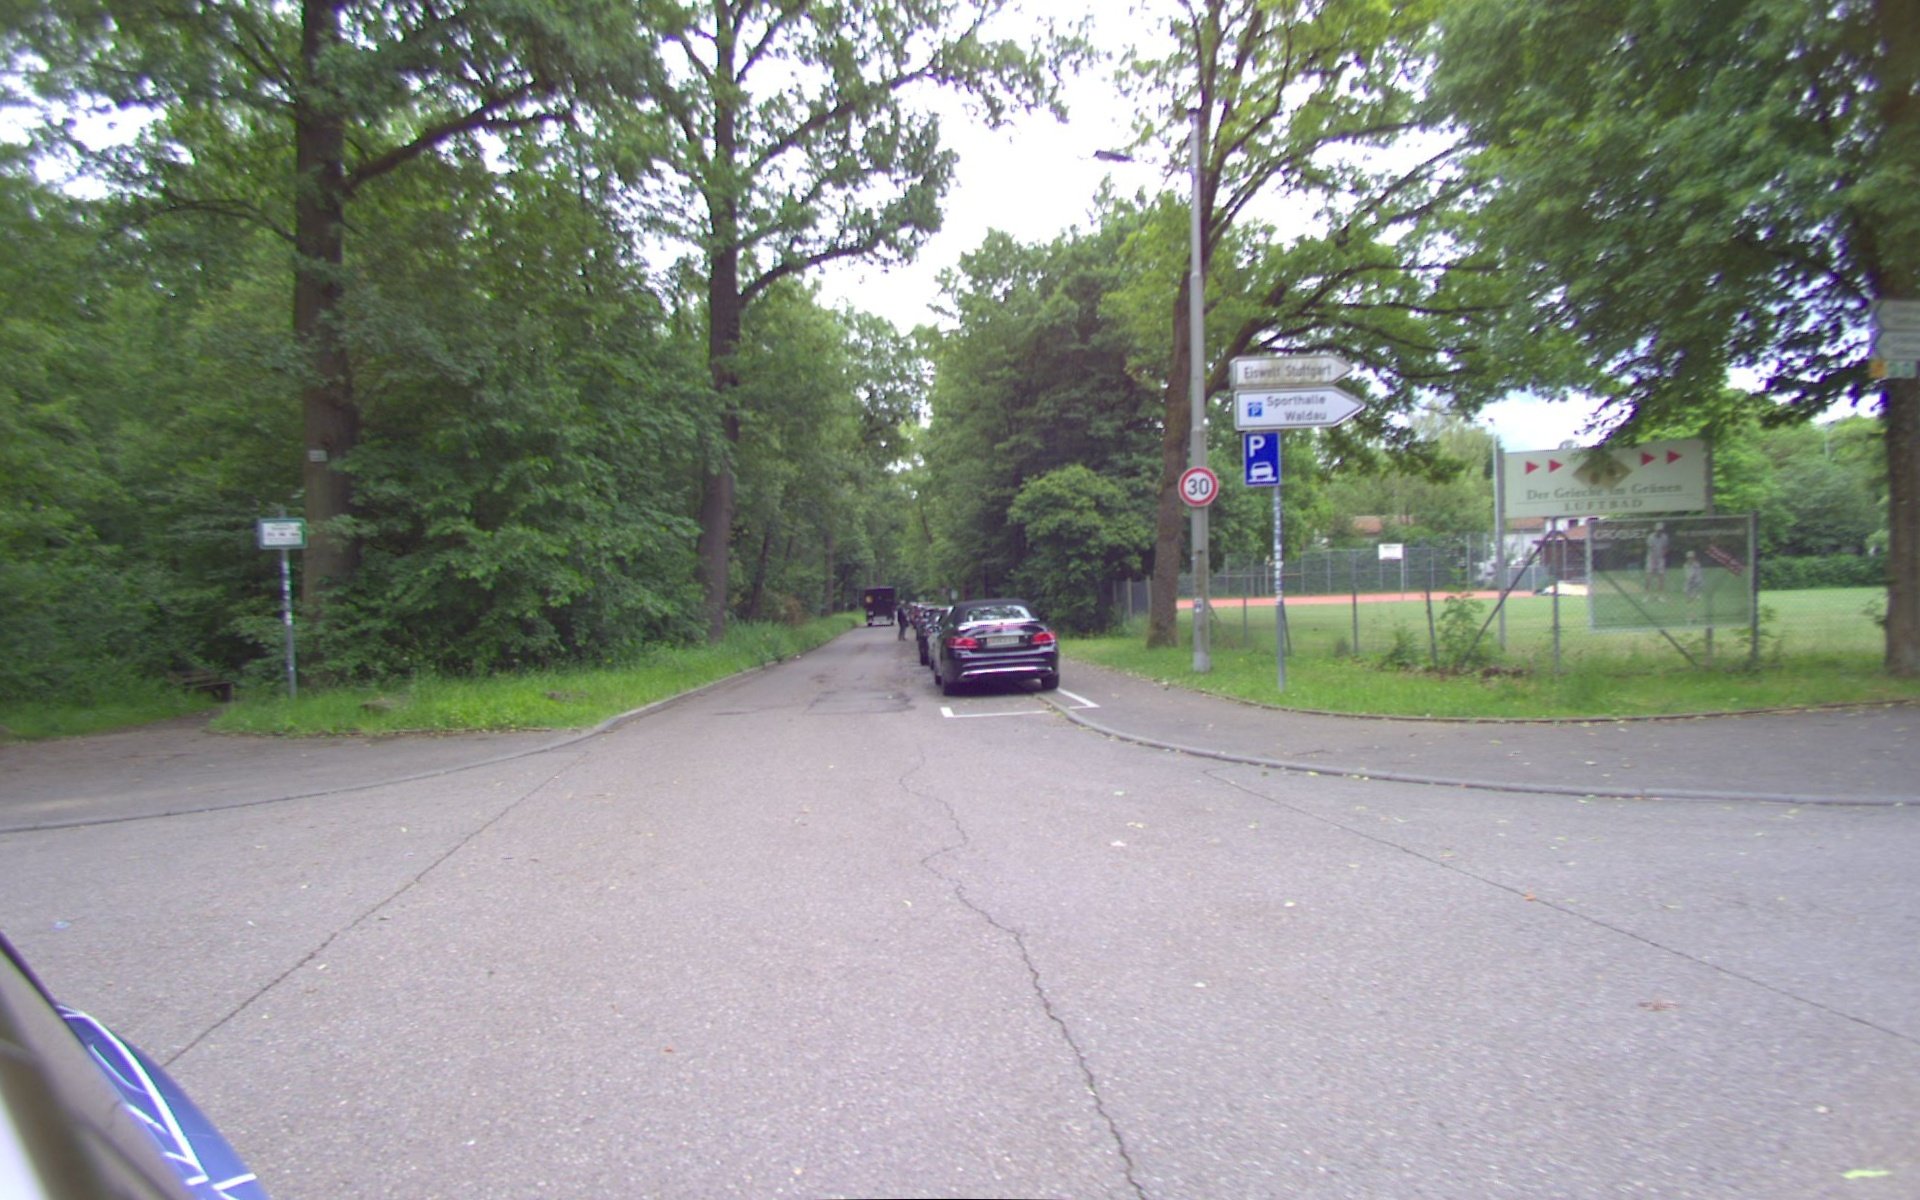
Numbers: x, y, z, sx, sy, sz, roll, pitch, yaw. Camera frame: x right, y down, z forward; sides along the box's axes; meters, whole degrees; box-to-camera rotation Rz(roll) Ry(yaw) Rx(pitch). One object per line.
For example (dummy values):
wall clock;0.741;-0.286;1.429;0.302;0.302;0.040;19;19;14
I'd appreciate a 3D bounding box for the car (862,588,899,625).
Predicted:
car;-5.963;0.475;75.381;2.542;2.553;4.942;-3;1;-5

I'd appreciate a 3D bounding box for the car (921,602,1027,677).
car;0.199;0.822;21.748;1.665;1.369;4.226;-3;-1;-7

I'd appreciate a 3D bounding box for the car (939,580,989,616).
car;0.145;-0.098;48.194;1.928;1.631;3.645;-1;0;-6

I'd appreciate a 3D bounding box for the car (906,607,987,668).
car;-0.424;0.957;26.385;1.665;1.369;3.873;-3;-1;-7

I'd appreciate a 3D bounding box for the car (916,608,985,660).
car;-0.342;1.023;30.892;1.665;1.369;3.636;-3;-1;-7

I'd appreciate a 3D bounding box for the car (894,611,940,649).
car;-1.776;1.221;41.131;1.547;1.369;3.524;-3;-1;-7

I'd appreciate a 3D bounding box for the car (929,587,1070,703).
car;0.482;0.669;16.222;1.746;1.506;4.329;-3;-1;-3

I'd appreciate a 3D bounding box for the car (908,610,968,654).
car;-0.825;1.101;35.262;1.665;1.369;3.636;-3;-1;-7

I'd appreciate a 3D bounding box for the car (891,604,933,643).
car;-2.234;1.048;46.256;1.596;1.604;3.524;-3;0;-7
